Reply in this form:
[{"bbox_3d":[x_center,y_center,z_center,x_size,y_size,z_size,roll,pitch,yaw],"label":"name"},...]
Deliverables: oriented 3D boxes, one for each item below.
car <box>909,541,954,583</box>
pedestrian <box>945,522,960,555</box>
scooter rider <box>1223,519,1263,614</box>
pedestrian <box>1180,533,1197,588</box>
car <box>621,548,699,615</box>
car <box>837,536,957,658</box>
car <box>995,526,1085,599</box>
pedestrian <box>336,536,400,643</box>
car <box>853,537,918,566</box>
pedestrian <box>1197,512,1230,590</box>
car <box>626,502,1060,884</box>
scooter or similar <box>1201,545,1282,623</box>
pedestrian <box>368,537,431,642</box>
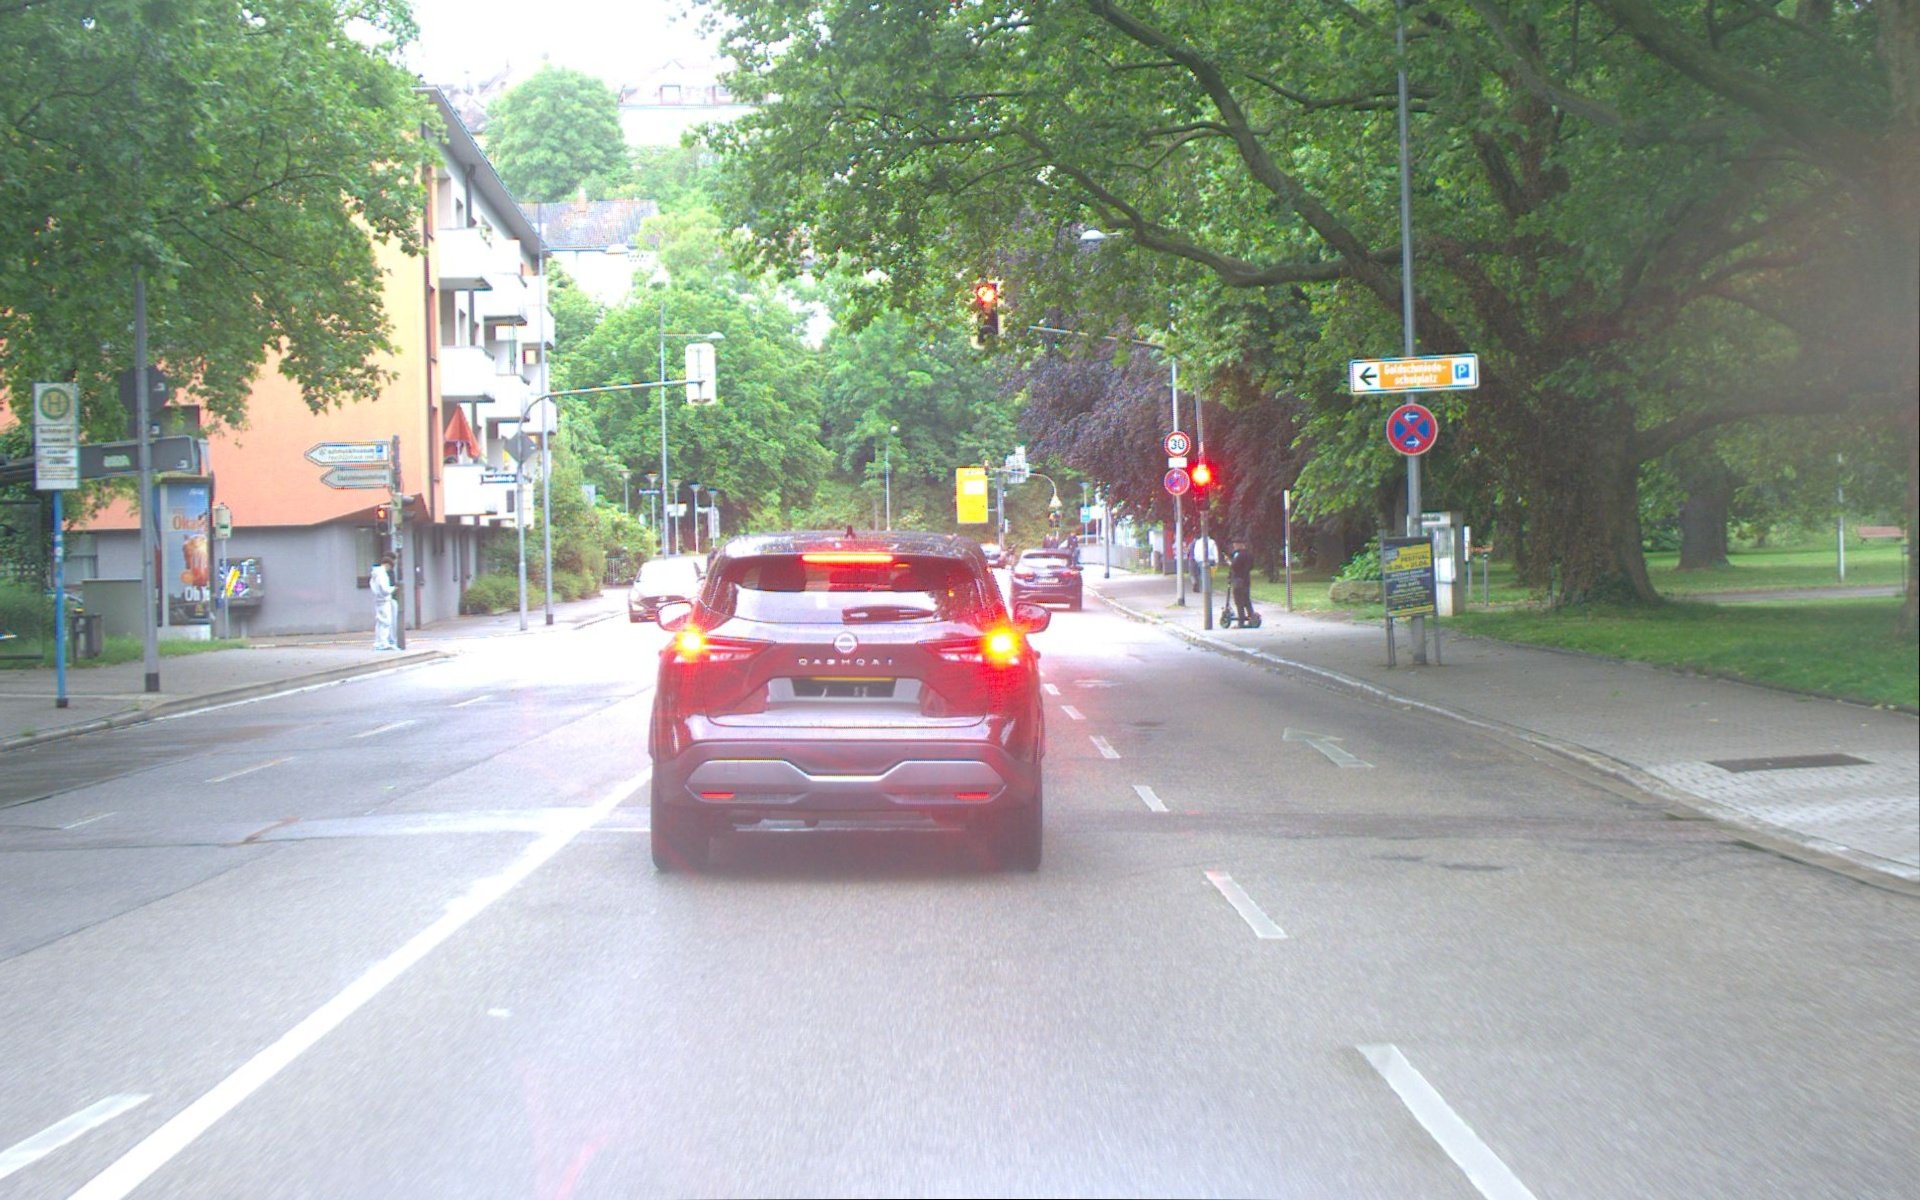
[{"bbox_3d":[-1.091,-1.486,132.161,1.634,1.527,3.968,-2,1,-1],"label":"car"},{"bbox_3d":[-0.385,-3.156,176.296,0.509,1.667,0.658,-1,1,27],"label":"pedestrian"},{"bbox_3d":[5.337,-0.626,64.866,0.643,1.760,0.735,-1,-1,12],"label":"scooter rider"},{"bbox_3d":[6.266,-1.075,94.411,0.390,1.497,0.559,-2,1,0],"label":"pedestrian"},{"bbox_3d":[-7.339,-0.468,84.304,1.795,1.528,3.868,-2,1,-4],"label":"car"},{"bbox_3d":[-0.947,-0.076,52.326,1.698,1.739,3.641,-2,1,-1],"label":"car"},{"bbox_3d":[2.015,-0.925,85.598,1.994,1.729,3.999,1,0,4],"label":"car"},{"bbox_3d":[-10.583,-0.194,61.424,1.035,1.869,0.658,-2,1,-12],"label":"pedestrian"},{"bbox_3d":[-4.595,-2.997,211.671,3.987,1.662,1.702,1,0,-1],"label":"car"},{"bbox_3d":[6.632,-1.276,89.987,0.725,2.007,0.851,-2,1,0],"label":"pedestrian"},{"bbox_3d":[-0.533,0.378,17.205,1.913,1.674,4.000,0,1,0],"label":"car"},{"bbox_3d":[5.314,-0.299,64.863,1.394,1.441,0.816,-1,0,12],"label":"scooter or similar"},{"bbox_3d":[-10.172,-0.193,62.395,1.035,1.869,0.658,-2,1,-12],"label":"pedestrian"}]
